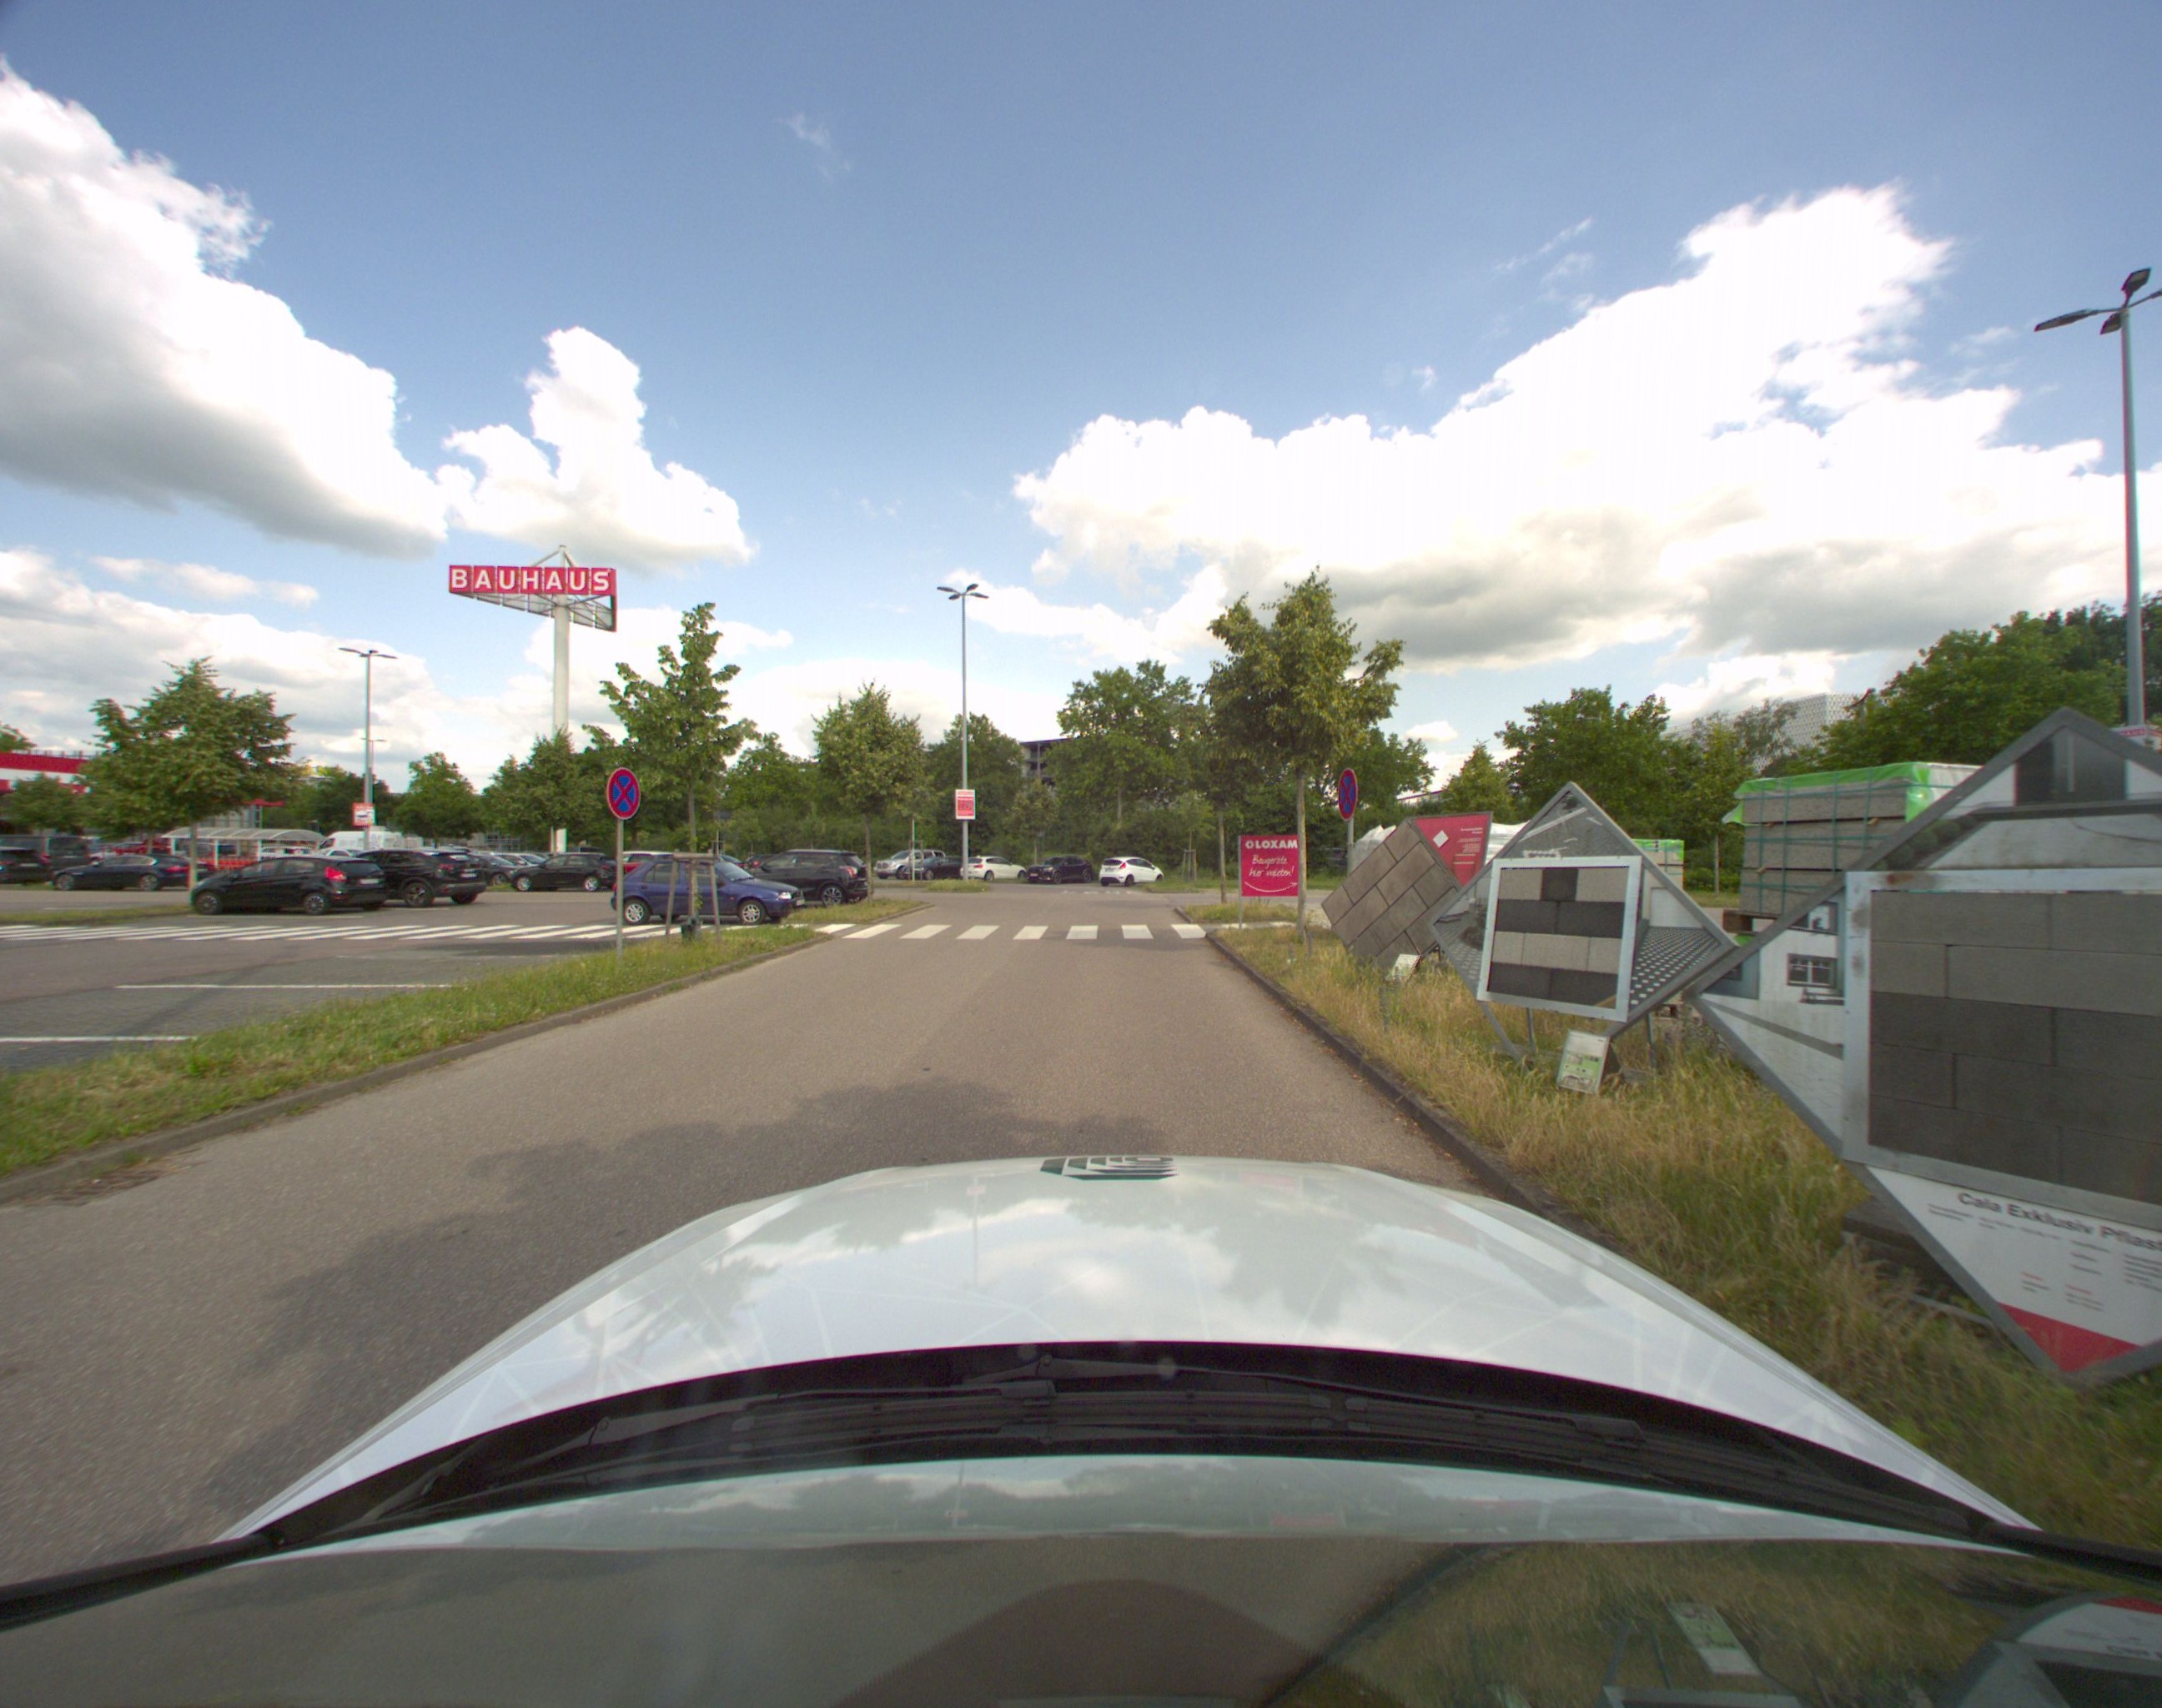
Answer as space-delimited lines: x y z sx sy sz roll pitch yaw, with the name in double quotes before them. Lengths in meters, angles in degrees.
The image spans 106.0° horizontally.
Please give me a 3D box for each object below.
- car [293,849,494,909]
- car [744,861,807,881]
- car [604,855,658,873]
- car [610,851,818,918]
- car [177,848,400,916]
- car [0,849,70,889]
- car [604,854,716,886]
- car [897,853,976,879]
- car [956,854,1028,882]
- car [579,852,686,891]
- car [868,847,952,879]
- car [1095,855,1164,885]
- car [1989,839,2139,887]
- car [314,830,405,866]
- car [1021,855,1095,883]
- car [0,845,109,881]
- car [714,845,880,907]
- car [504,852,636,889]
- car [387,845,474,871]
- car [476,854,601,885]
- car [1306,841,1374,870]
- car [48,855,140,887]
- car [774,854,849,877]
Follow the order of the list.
"car" -19.161 0.674 22.833 4.058 1.624 1.783 0 0 -1
"car" -22.047 1.214 58.947 1.677 1.381 4.025 -2 -2 35
"car" -38.456 0.846 69.614 1.612 1.468 3.667 -2 -1 36
"car" -7.810 0.624 17.552 3.737 1.368 1.622 0 0 1
"car" -19.742 0.673 20.441 3.688 1.624 1.781 0 0 -4
"car" -42.521 0.556 31.453 4.387 1.468 2.000 0 0 0
"car" -18.701 0.706 36.312 4.062 1.399 1.766 0 0 -1
"car" -8.680 0.698 49.350 1.816 1.451 4.755 0 0 37
"car" -5.015 0.763 46.321 1.668 1.509 4.107 -1 -1 39
"car" -18.364 0.694 33.431 3.425 1.581 1.709 0 0 -1
"car" -10.560 0.523 50.774 1.965 1.842 5.181 0 0 35
"car" 2.458 0.781 40.750 1.649 1.411 3.579 0 0 41
"car" 43.349 0.367 36.061 3.949 2.013 2.012 0 0 41
"car" -52.795 -0.424 59.644 4.696 2.510 2.053 1 -1 1
"car" -1.175 0.784 43.776 1.711 1.410 4.270 0 0 36
"car" -52.800 0.437 41.515 3.976 1.778 1.999 0 0 -2
"car" -7.798 0.575 22.571 3.933 1.624 1.737 0 0 3
"car" -19.341 0.606 30.946 3.860 1.369 1.728 0 0 -1
"car" -41.421 0.247 51.940 3.975 1.596 1.910 0 0 -1
"car" -24.095 0.667 36.277 4.255 1.353 1.893 0 0 -2
"car" 17.384 0.123 54.667 3.948 1.716 2.012 -2 -4 34
"car" -55.260 0.924 45.628 3.146 1.743 1.602 0 1 0
"car" -18.296 0.764 55.434 1.761 1.504 4.684 0 0 35
